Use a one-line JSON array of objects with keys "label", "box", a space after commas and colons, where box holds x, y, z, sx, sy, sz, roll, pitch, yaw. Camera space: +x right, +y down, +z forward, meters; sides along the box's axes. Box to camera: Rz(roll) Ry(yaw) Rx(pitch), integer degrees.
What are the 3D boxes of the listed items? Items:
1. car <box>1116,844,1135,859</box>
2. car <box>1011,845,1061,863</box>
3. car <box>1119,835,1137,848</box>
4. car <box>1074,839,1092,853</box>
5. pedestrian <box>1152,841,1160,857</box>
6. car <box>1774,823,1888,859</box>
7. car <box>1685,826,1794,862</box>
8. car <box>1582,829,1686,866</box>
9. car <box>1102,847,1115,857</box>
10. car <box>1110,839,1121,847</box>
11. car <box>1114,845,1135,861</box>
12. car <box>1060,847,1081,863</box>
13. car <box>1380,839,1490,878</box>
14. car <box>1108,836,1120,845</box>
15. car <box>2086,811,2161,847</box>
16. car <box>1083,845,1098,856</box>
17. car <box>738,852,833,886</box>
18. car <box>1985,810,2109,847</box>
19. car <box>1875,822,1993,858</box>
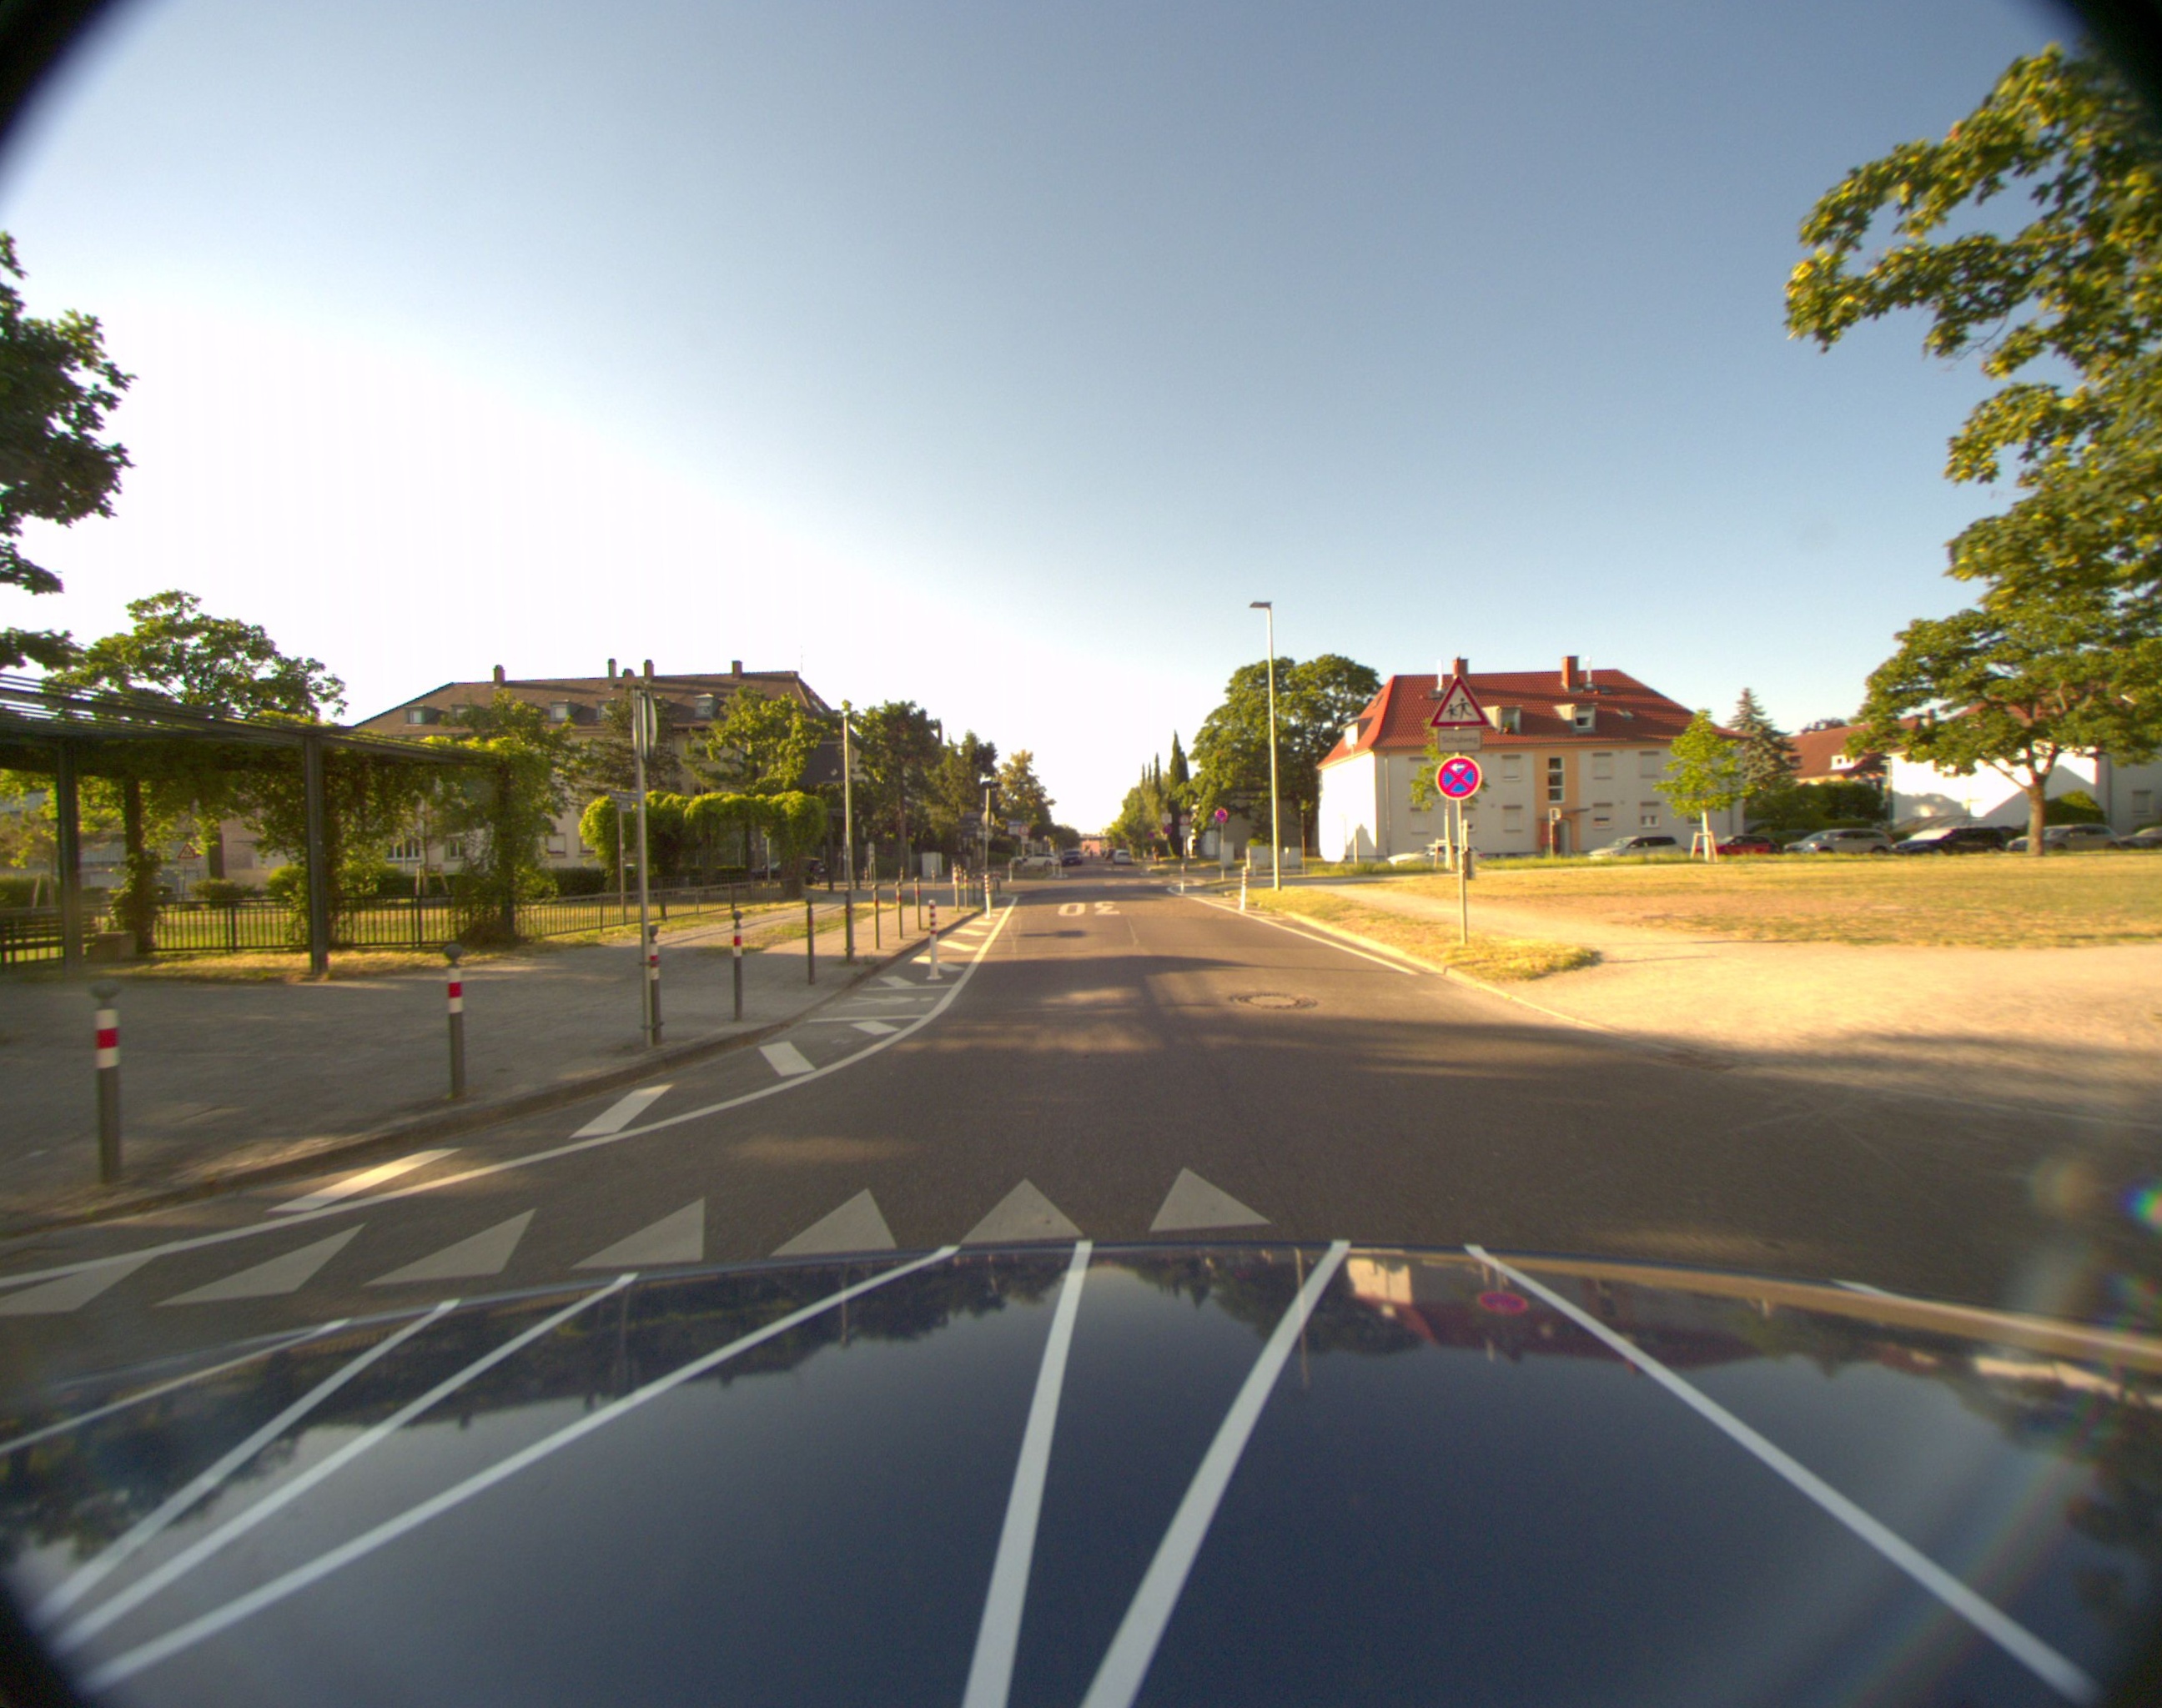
[{"label": "car", "box": [5.157, -0.283, 88.591, 1.970, 1.604, 4.246, -2, 1, 0]}, {"label": "car", "box": [-4.390, -0.017, 74.694, 4.835, 1.604, 1.971, -2, 1, -1]}, {"label": "car", "box": [5.820, -1.540, 94.136, 1.970, 1.604, 4.246, -2, 1, 0]}, {"label": "car", "box": [0.241, -0.955, 91.364, 1.971, 1.604, 4.245, -2, 1, -3]}, {"label": "pedestrian", "box": [9.345, -0.664, 94.727, 0.898, 2.002, 0.692, -2, 1, 1]}, {"label": "car", "box": [38.499, -0.656, 39.055, 3.997, 1.685, 1.851, -2, -1, -1]}, {"label": "car", "box": [33.964, -0.501, 39.271, 3.997, 1.685, 1.851, -2, -1, -1]}, {"label": "car", "box": [28.463, -0.318, 39.203, 3.997, 1.685, 1.851, -2, -1, -1]}, {"label": "car", "box": [4.453, -0.327, 125.483, 1.970, 1.604, 4.246, -2, 1, 0]}, {"label": "car", "box": [7.135, -2.251, 156.378, 1.970, 1.604, 4.246, -2, 1, 0]}, {"label": "car", "box": [4.518, -0.098, 79.949, 1.970, 1.604, 4.246, -2, 1, 0]}, {"label": "car", "box": [-1.116, 0.097, 79.031, 1.971, 1.604, 4.245, -2, 1, -3]}, {"label": "car", "box": [16.736, 0.215, 36.022, 4.298, 1.685, 1.871, -2, -1, -1]}, {"label": "car", "box": [6.099, -2.559, 140.358, 1.970, 1.604, 4.246, -2, 1, -1]}, {"label": "car", "box": [54.950, -1.305, 39.111, 3.997, 1.685, 1.851, -2, -1, -1]}, {"label": "car", "box": [1.363, -0.540, 113.783, 1.971, 1.604, 4.245, -2, 1, -3]}, {"label": "car", "box": [-15.460, 0.790, 39.897, 4.213, 1.631, 1.823, -2, -1, -1]}, {"label": "car", "box": [49.719, -1.285, 39.164, 3.997, 1.685, 1.851, -2, -1, -1]}, {"label": "car", "box": [43.923, -0.690, 39.166, 3.997, 1.685, 1.851, -2, -1, -1]}]
